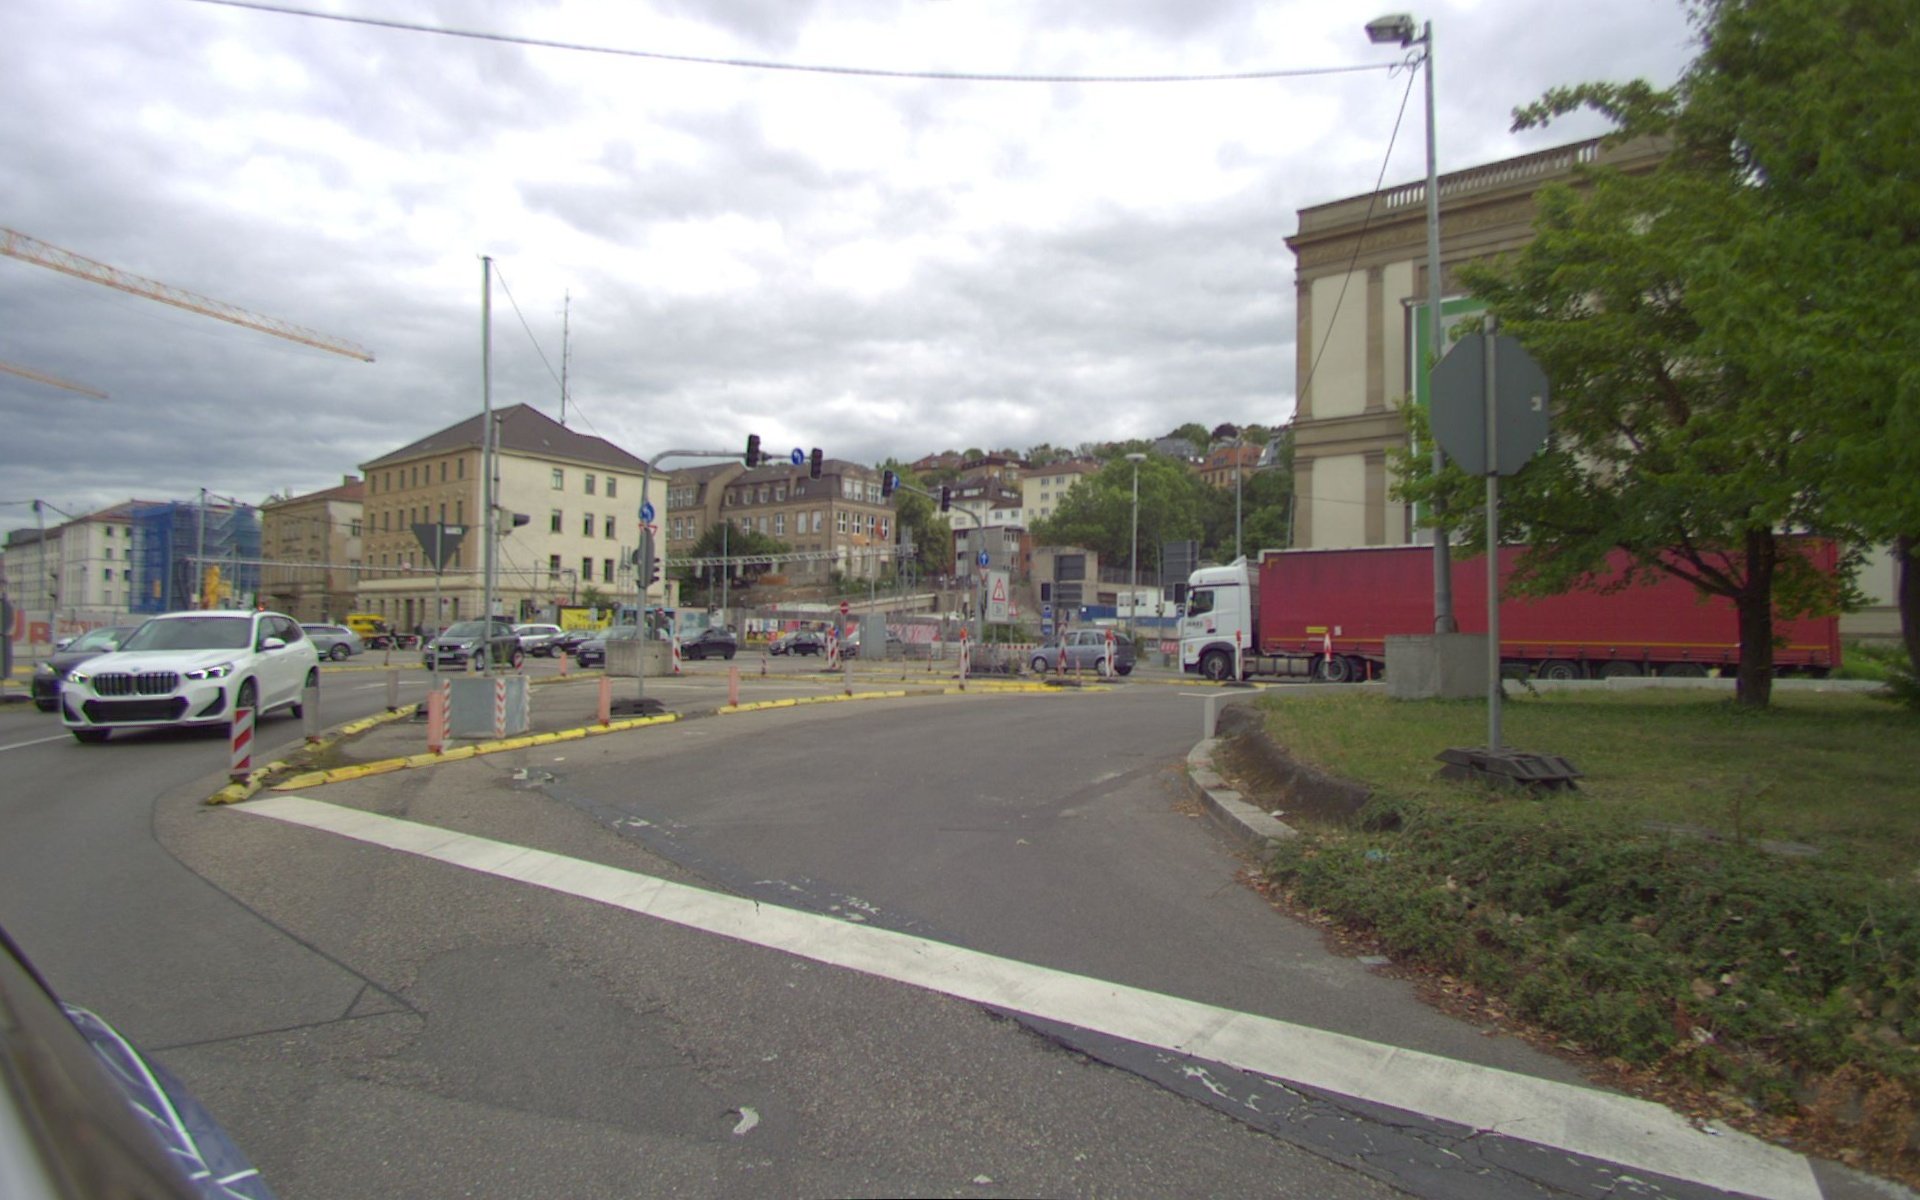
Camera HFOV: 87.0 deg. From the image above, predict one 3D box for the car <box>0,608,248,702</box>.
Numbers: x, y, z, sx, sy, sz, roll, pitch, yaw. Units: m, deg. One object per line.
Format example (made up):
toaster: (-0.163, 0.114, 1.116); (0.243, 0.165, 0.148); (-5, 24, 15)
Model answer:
car: (-15.302, 0.994, 18.605); (1.707, 1.481, 4.426); (2, -3, -8)

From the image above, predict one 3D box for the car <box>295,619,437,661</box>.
car: (-24.033, 1.581, 41.120); (1.906, 1.591, 4.629); (0, -2, 33)

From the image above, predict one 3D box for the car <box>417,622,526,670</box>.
car: (-15.671, 1.487, 32.639); (1.558, 1.430, 3.566); (1, -3, 4)

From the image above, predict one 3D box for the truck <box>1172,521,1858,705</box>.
truck: (14.333, 0.477, 28.871); (16.585, 4.114, 2.890); (-1, -4, 37)

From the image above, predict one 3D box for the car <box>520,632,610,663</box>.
car: (-19.059, 2.303, 48.970); (1.727, 1.400, 3.653); (-1, -4, 41)

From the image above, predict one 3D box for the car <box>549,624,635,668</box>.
car: (-12.882, 1.589, 35.689); (1.826, 1.431, 4.109); (0, -1, -4)

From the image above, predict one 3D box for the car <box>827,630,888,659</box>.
car: (-5.460, 2.348, 54.353); (1.860, 1.431, 4.083); (0, -1, 16)

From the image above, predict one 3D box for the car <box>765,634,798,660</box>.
car: (-10.734, 2.802, 60.687); (1.846, 1.431, 4.114); (0, -1, -11)

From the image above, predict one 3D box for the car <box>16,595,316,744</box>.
car: (-10.061, 0.807, 13.202); (1.783, 1.617, 3.723); (-1, -1, -15)

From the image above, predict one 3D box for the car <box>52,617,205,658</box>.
car: (-30.470, 1.382, 37.184); (1.690, 1.427, 4.035); (-2, -3, 37)

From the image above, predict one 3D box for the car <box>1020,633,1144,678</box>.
car: (4.352, 1.968, 36.333); (4.124, 1.515, 1.749); (-2, -3, 37)

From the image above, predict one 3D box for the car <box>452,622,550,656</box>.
car: (-22.264, 1.941, 49.202); (1.689, 1.586, 4.022); (-2, -4, 36)
